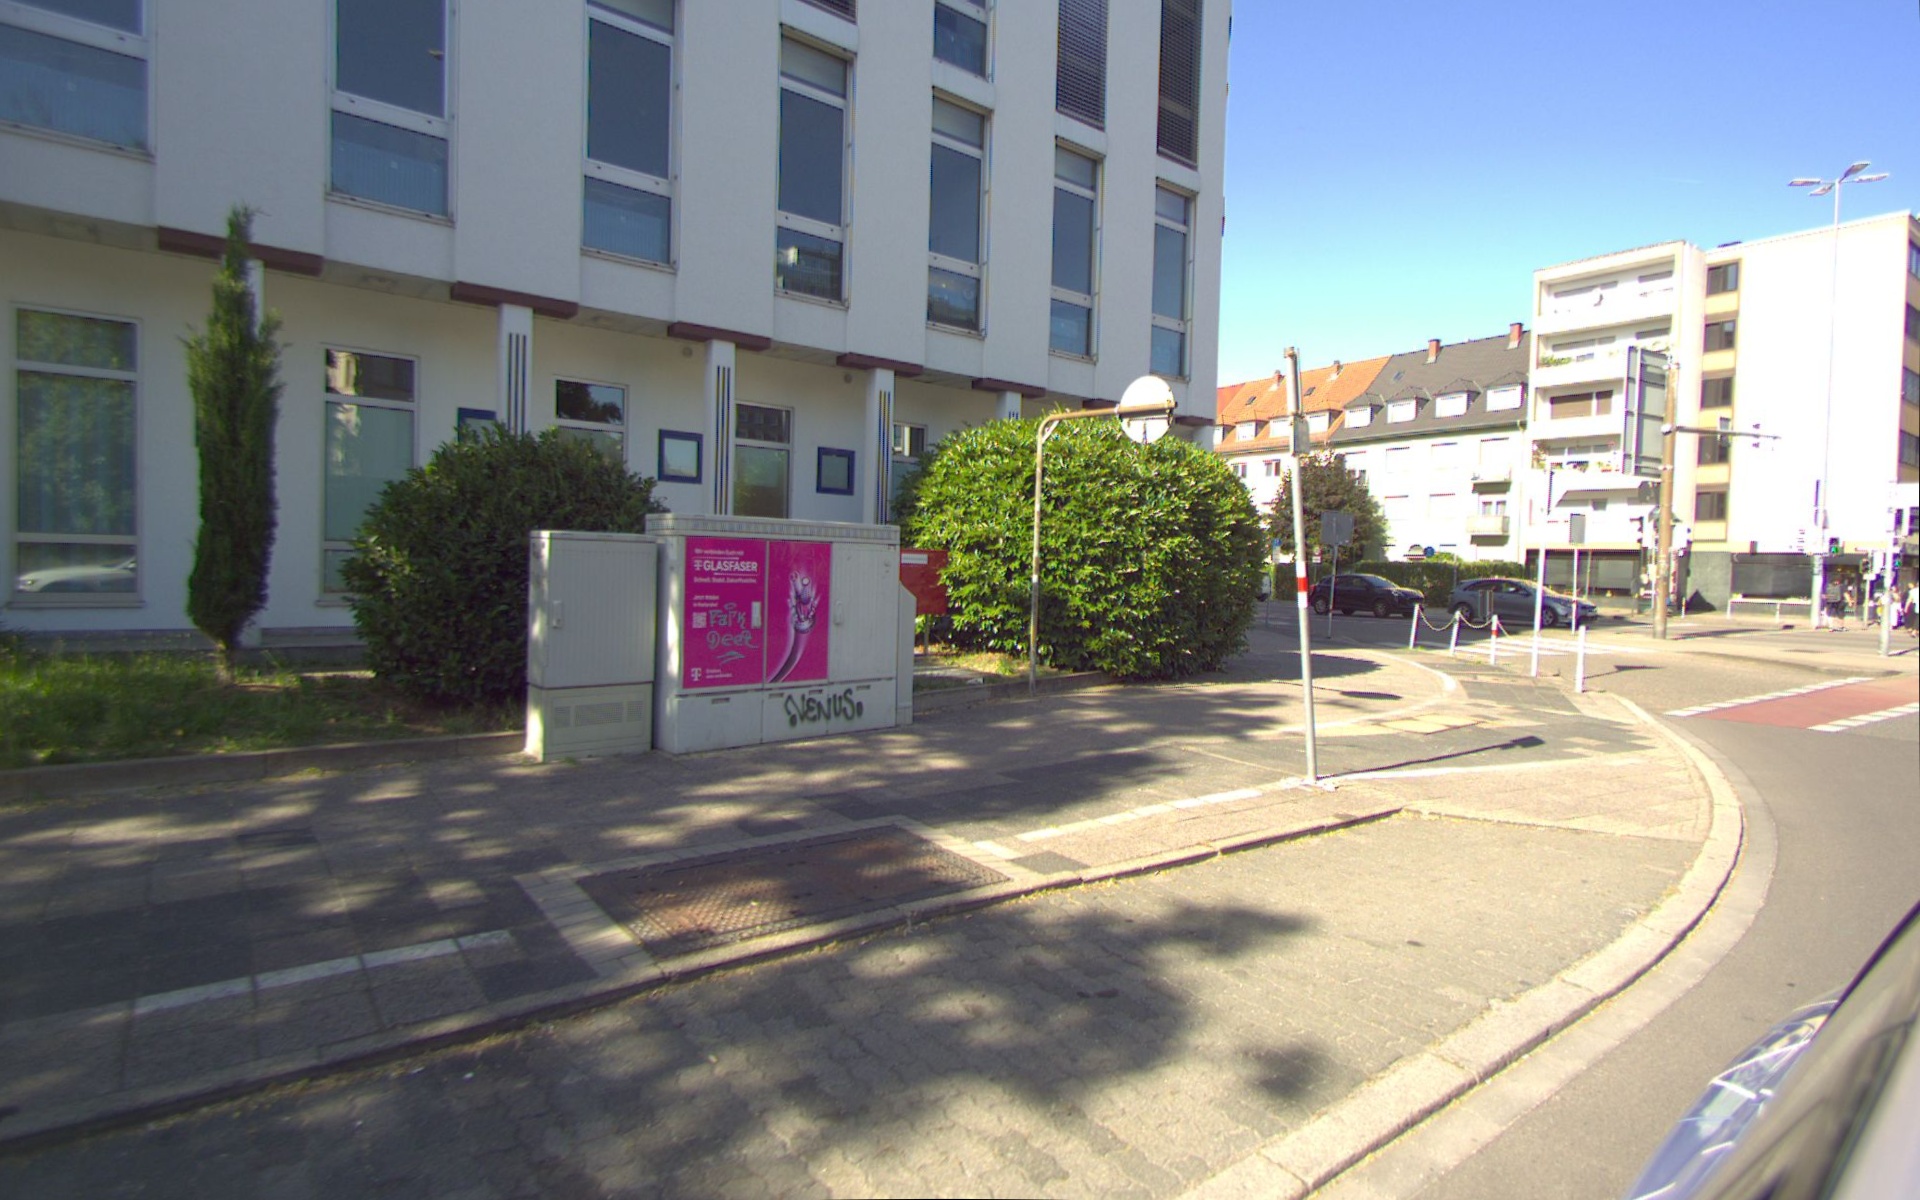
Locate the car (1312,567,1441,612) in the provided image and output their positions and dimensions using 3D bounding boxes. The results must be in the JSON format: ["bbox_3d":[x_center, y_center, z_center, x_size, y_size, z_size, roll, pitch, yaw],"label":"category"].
[{"bbox_3d":[14.905,-0.415,36.428,1.663,1.510,4.079,-1,2,-31],"label":"car"}]

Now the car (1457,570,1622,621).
[{"bbox_3d":[17.980,-0.193,31.567,1.847,1.425,4.061,-1,2,-31],"label":"car"}]

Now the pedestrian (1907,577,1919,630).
[{"bbox_3d":[30.954,0.116,32.287,0.706,1.642,0.900,-3,3,-27],"label":"pedestrian"}]

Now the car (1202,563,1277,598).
[{"bbox_3d":[16.407,-1.185,59.573,1.770,1.880,4.171,-3,3,-31],"label":"car"}]

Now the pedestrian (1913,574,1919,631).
[{"bbox_3d":[27.721,0.078,28.618,0.776,1.627,0.925,-1,3,18],"label":"pedestrian"}]

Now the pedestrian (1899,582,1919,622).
[{"bbox_3d":[41.074,0.075,43.628,0.684,1.699,0.719,-3,3,-36],"label":"pedestrian"}]

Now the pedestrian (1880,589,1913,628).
[{"bbox_3d":[30.887,0.270,33.365,0.516,1.217,0.649,-3,3,-27],"label":"pedestrian"}]

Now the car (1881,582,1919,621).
[{"bbox_3d":[40.135,0.117,40.813,4.458,1.538,1.887,2,0,-6],"label":"car"}]

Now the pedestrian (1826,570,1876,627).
[{"bbox_3d":[27.091,-0.051,30.790,0.787,1.663,0.980,-1,3,18],"label":"pedestrian"}]

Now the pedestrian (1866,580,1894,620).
[{"bbox_3d":[39.928,-0.023,43.938,0.712,1.699,0.691,0,3,26],"label":"pedestrian"}]
